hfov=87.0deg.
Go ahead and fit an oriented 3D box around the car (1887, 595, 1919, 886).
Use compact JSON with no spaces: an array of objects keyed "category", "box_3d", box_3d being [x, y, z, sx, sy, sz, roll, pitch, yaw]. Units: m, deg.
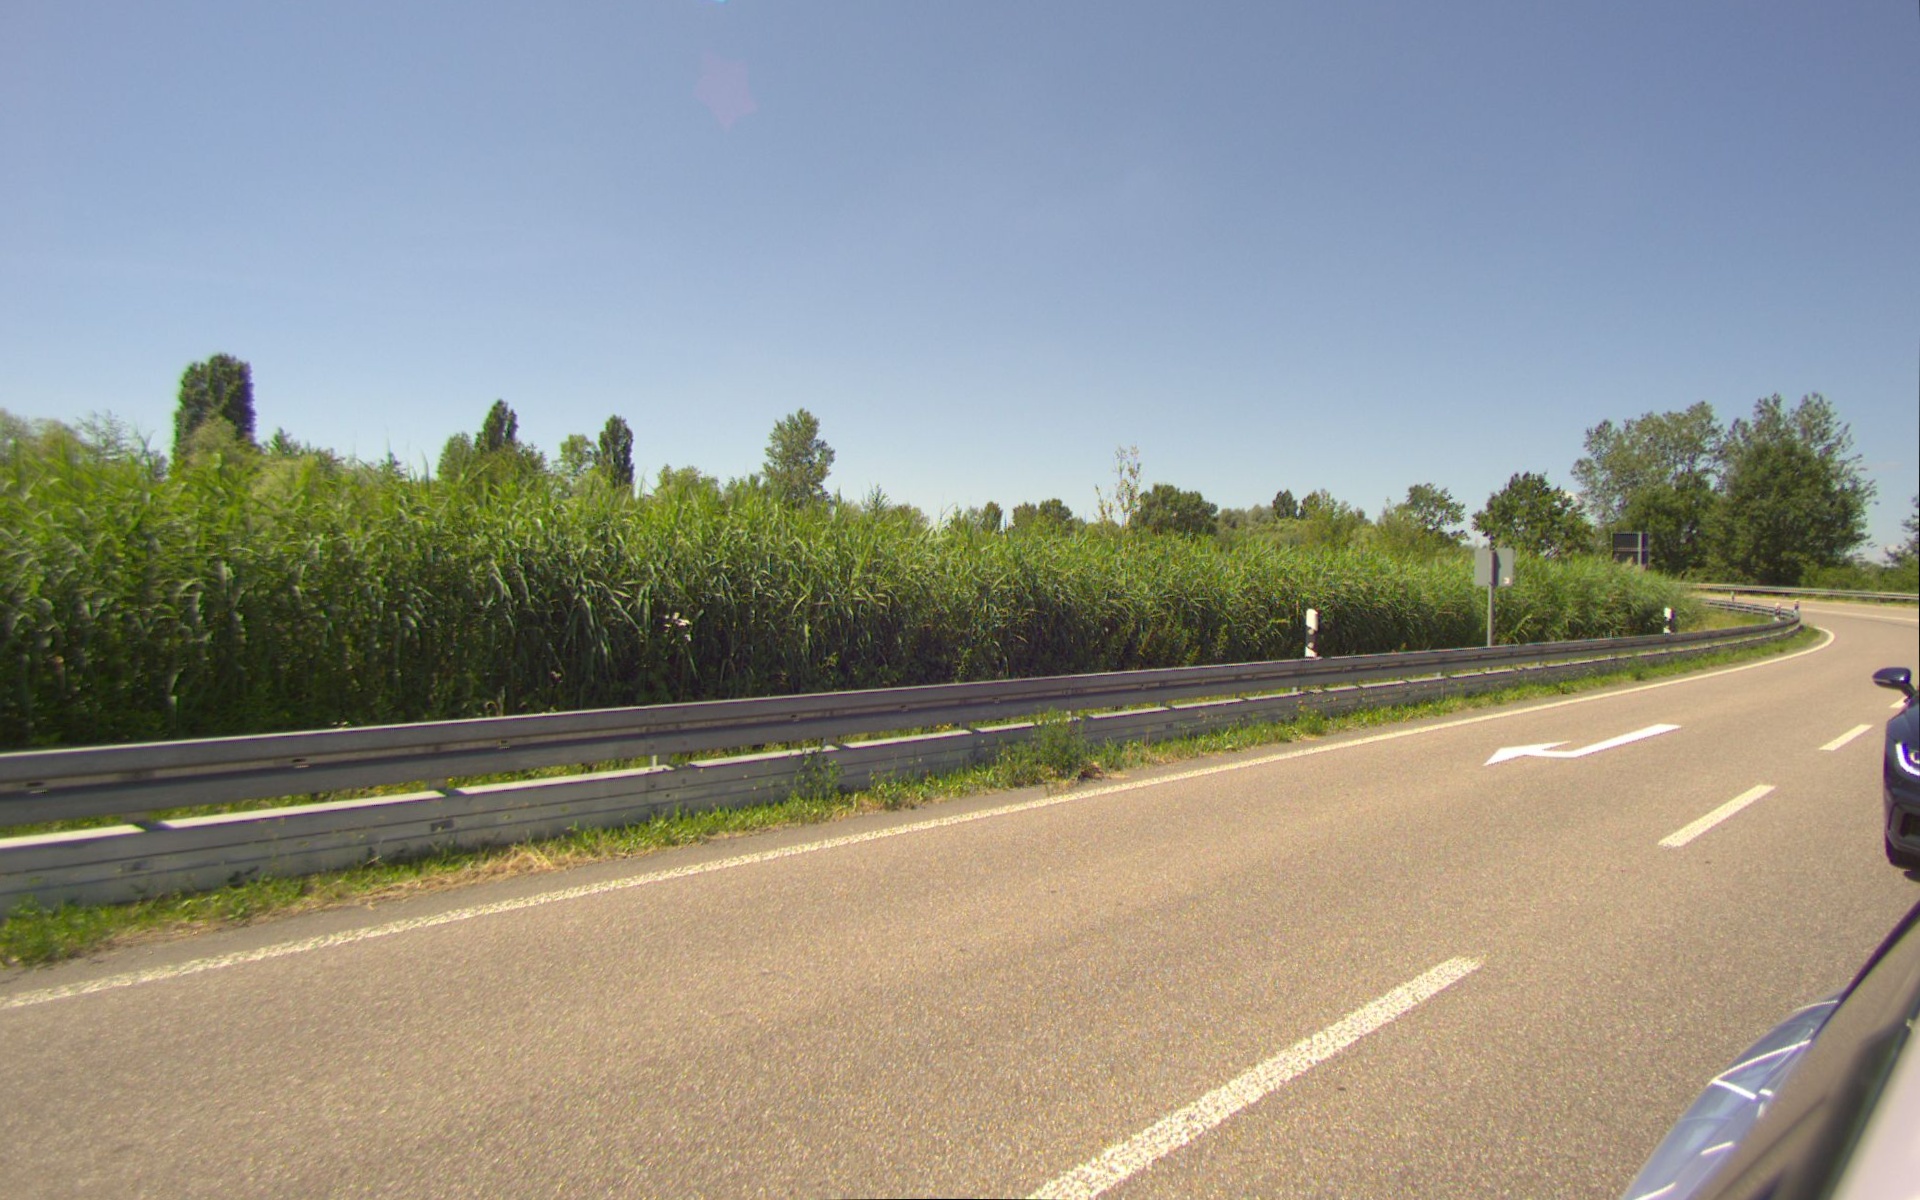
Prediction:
[{"category":"car","box_3d":[6.718,0.687,5.737,3.931,1.427,1.759,-1,1,-41]}]
